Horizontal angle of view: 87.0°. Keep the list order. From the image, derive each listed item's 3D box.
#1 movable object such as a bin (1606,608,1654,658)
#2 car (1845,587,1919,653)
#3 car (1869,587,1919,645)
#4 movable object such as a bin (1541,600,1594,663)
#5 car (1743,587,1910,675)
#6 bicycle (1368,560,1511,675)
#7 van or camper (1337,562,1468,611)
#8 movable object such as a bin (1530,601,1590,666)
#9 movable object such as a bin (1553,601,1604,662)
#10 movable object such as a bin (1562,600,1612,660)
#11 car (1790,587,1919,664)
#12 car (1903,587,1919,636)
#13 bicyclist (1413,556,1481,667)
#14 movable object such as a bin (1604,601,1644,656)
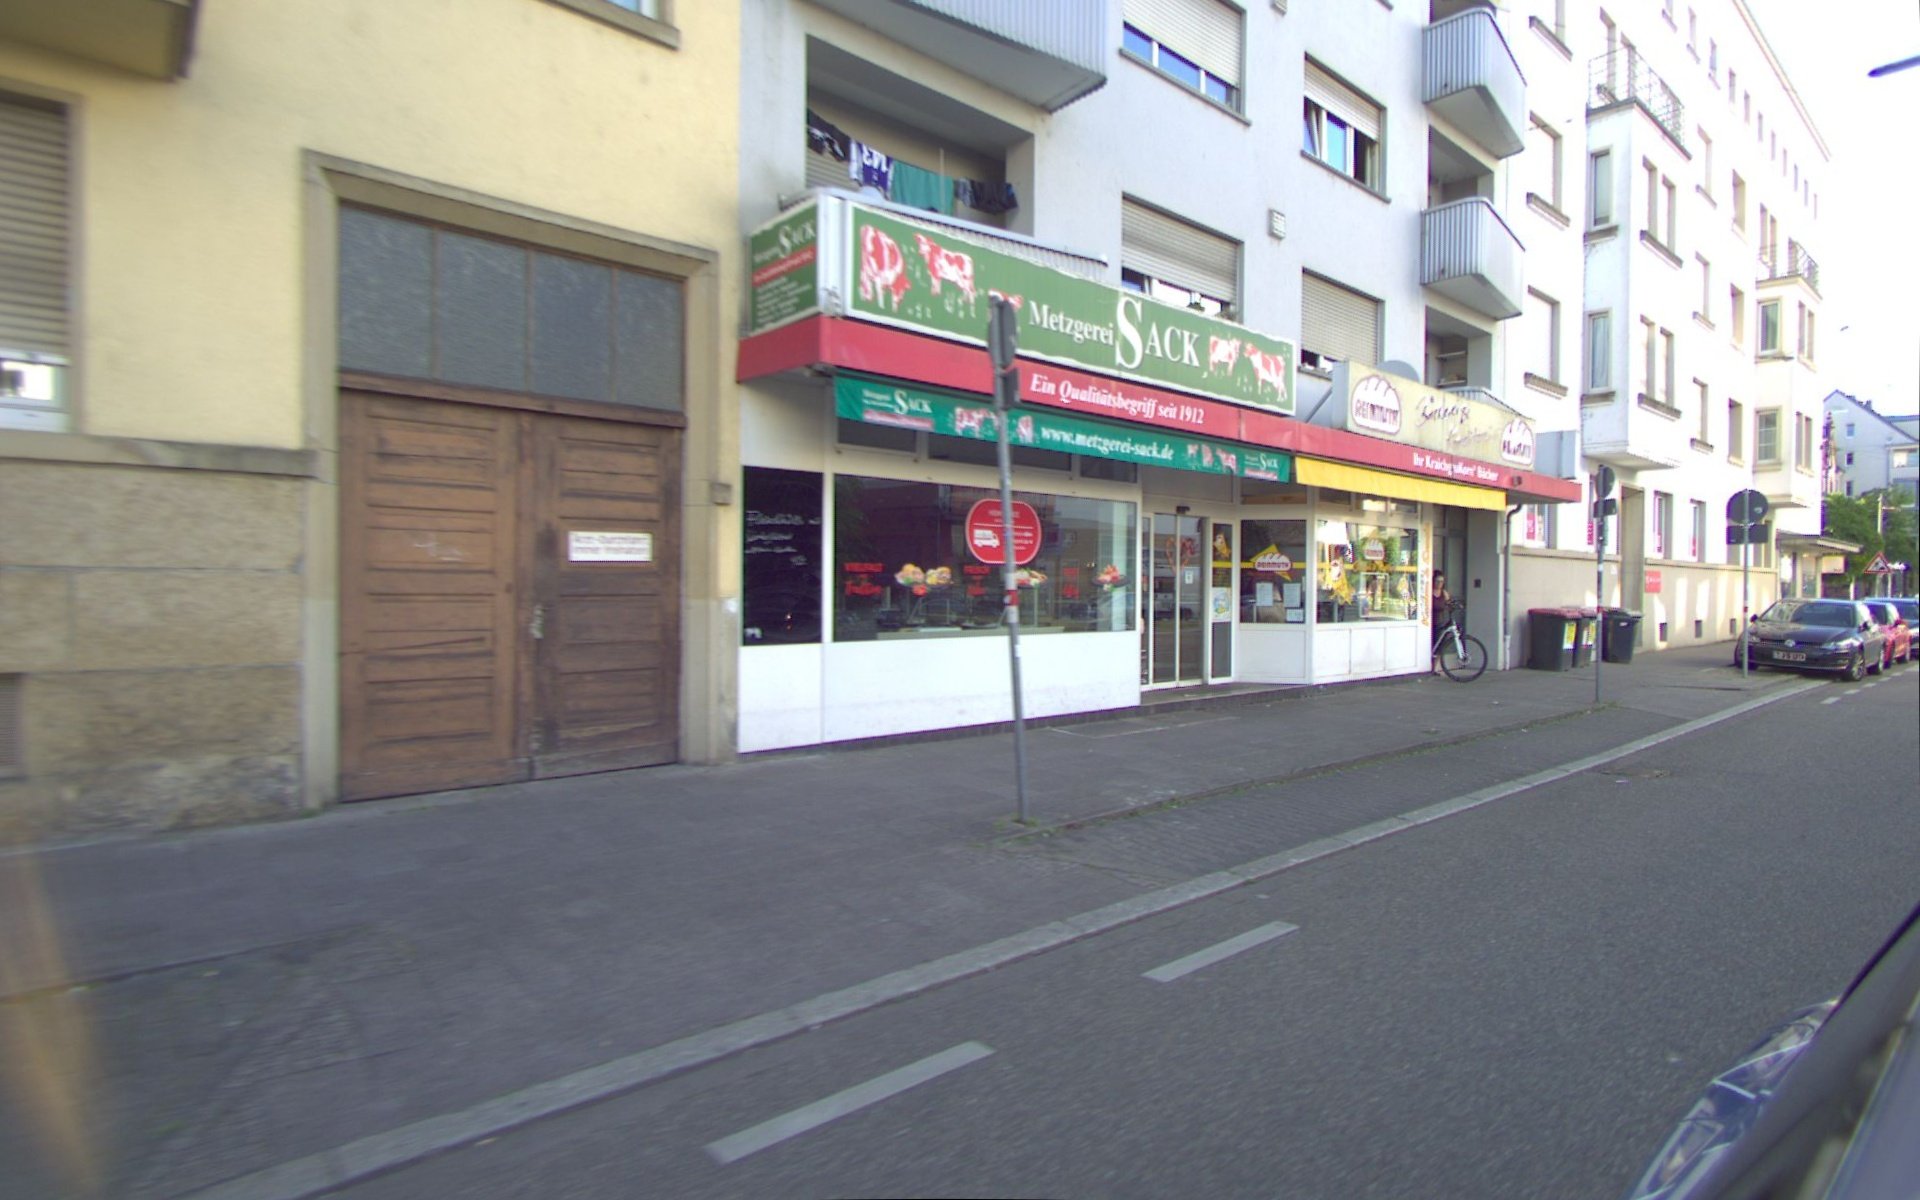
[{"bbox_3d":[13.046,0.627,19.704,0.560,0.928,0.656,0,0,-42],"label":"movable object such as a bin"},{"bbox_3d":[24.541,0.471,26.168,4.023,1.525,1.862,-1,4,-40],"label":"car"},{"bbox_3d":[27.773,0.438,29.235,4.432,1.525,1.860,-1,4,-44],"label":"car"},{"bbox_3d":[10.896,0.553,18.157,0.560,1.086,0.676,0,0,-42],"label":"movable object such as a bin"},{"bbox_3d":[16.697,0.507,19.433,4.281,1.424,1.715,-1,4,-40],"label":"car"},{"bbox_3d":[7.619,0.248,16.156,0.761,1.732,1.936,0,0,-37],"label":"bicycle"},{"bbox_3d":[27.285,-0.859,62.722,2.869,2.849,6.930,0,1,-38],"label":"van or camper"},{"bbox_3d":[10.506,0.575,17.718,0.607,1.086,0.771,0,0,-42],"label":"movable object such as a bin"},{"bbox_3d":[11.329,0.568,18.536,0.560,1.086,0.676,0,0,-42],"label":"movable object such as a bin"},{"bbox_3d":[11.738,0.550,18.939,0.560,1.086,0.676,0,0,-42],"label":"movable object such as a bin"},{"bbox_3d":[20.533,0.501,22.986,3.918,1.490,1.862,-1,4,-40],"label":"car"},{"bbox_3d":[32.379,0.393,33.010,4.832,1.525,1.753,-1,4,-40],"label":"car"},{"bbox_3d":[7.757,0.175,16.134,0.500,1.724,0.845,0,0,-37],"label":"bicyclist"},{"bbox_3d":[13.340,0.563,20.338,0.545,1.070,0.559,0,0,-42],"label":"movable object such as a bin"}]
